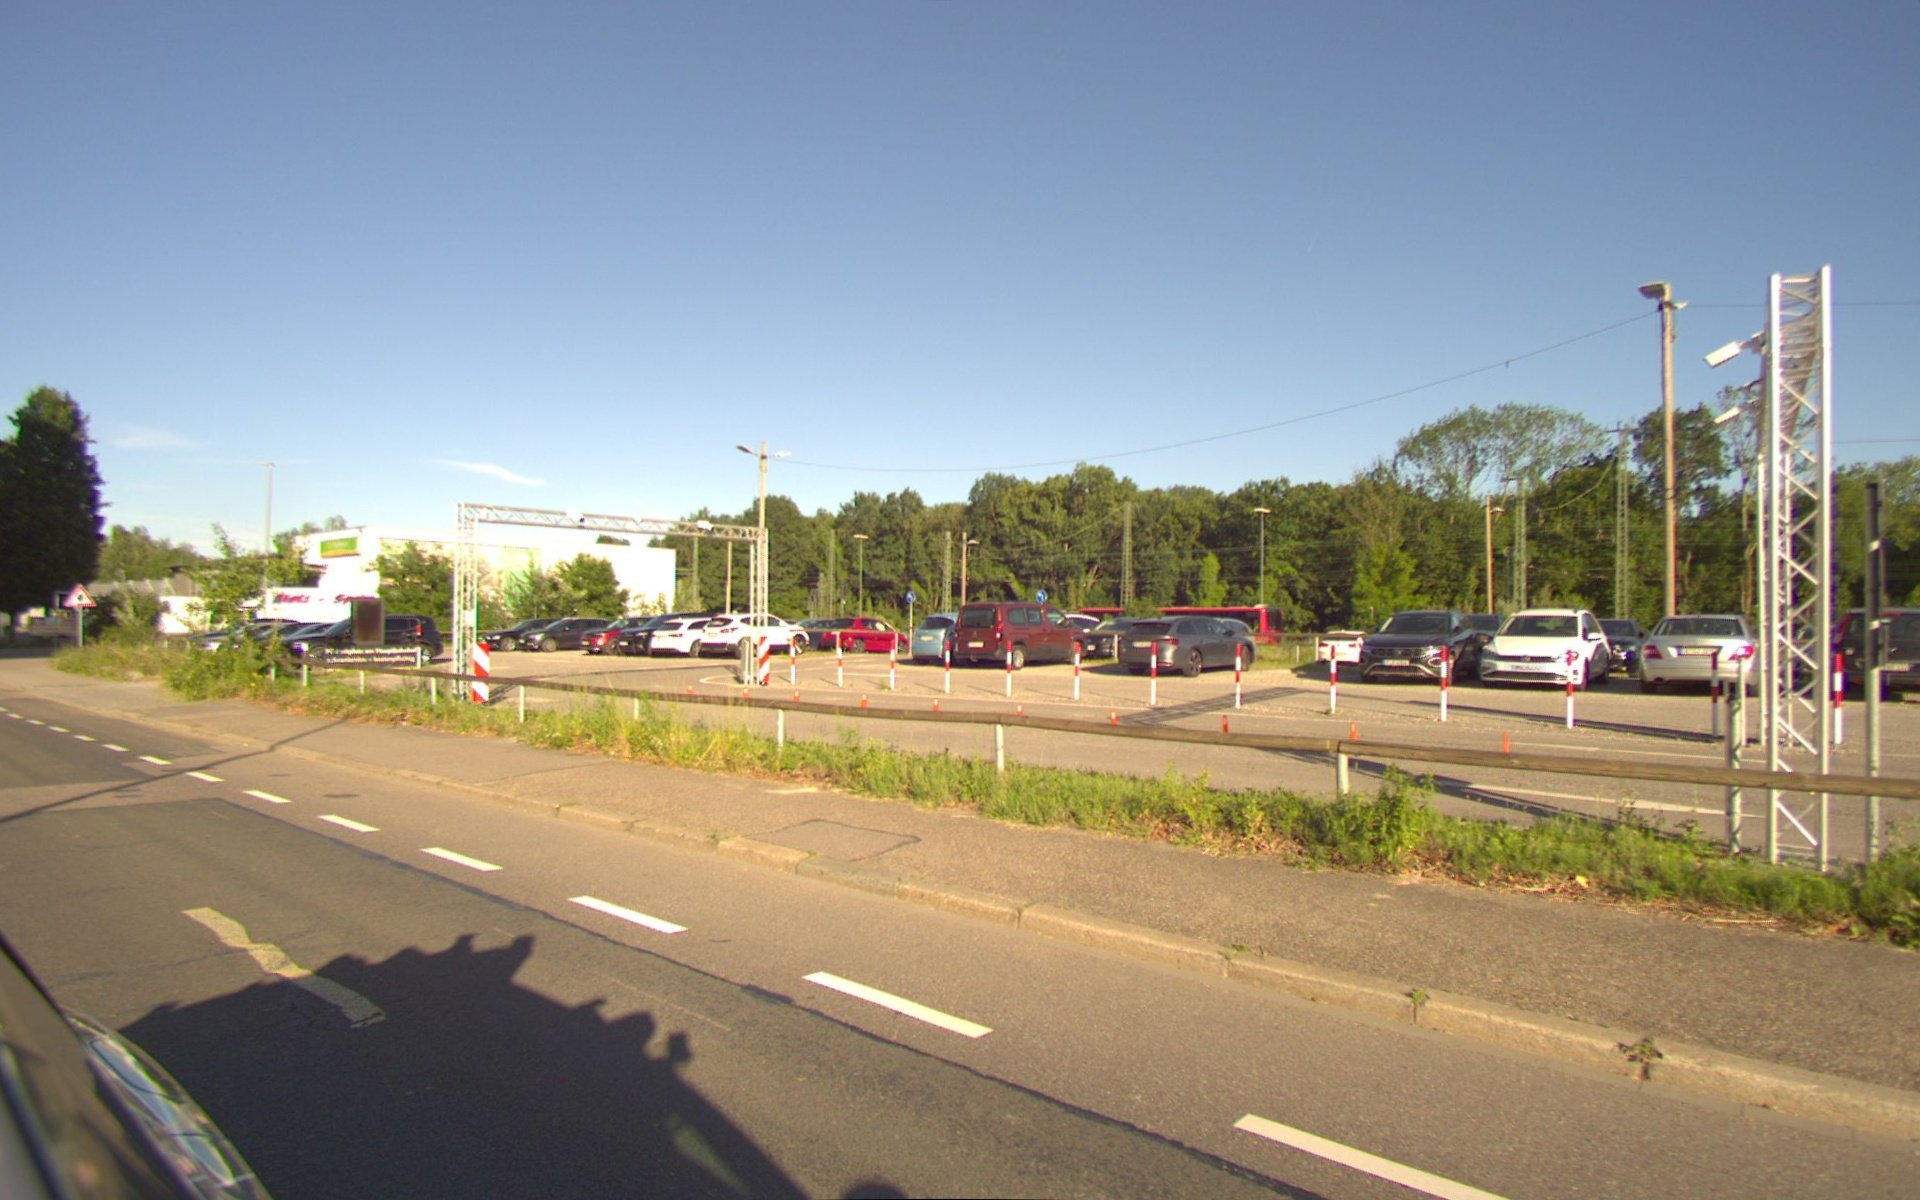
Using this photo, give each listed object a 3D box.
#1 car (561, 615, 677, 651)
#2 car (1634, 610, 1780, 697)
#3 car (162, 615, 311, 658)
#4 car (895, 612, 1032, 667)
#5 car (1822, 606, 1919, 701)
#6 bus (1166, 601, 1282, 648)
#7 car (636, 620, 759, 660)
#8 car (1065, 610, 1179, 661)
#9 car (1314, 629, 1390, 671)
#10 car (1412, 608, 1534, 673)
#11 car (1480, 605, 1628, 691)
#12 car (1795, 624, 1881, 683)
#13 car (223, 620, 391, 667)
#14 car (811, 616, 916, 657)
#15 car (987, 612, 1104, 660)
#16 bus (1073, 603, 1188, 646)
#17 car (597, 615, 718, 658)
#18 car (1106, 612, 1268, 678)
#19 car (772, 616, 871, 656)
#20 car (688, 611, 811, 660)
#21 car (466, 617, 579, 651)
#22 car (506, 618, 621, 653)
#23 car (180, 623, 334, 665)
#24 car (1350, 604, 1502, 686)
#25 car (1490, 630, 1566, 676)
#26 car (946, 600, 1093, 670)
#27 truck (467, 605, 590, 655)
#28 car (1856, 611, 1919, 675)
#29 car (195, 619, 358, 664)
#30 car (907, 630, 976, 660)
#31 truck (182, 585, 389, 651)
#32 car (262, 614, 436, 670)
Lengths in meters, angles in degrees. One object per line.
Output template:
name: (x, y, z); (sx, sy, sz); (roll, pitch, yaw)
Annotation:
car: (-13.894, 1.333, 41.419); (2.044, 1.408, 4.123); (-1, -2, 36)
car: (13.870, 0.903, 18.691); (1.877, 1.404, 4.277); (-2, -1, 40)
car: (-28.369, 1.389, 39.781); (2.047, 1.593, 4.382); (-1, -2, 41)
car: (0.175, 1.165, 31.008); (1.856, 1.557, 4.322); (-2, -1, 40)
car: (16.121, 0.846, 17.416); (1.877, 1.474, 4.277); (-2, -1, 40)
bus: (14.199, 1.327, 54.632); (5.586, 2.366, 2.512); (-1, -2, 41)
car: (-9.751, 1.445, 37.824); (2.044, 1.408, 4.123); (-1, -2, 36)
car: (5.234, 1.107, 32.417); (1.934, 1.519, 3.948); (-2, -2, 38)
car: (15.042, 1.880, 38.763); (1.724, 1.493, 3.572); (-1, -2, 38)
car: (13.378, 0.999, 26.265); (1.877, 1.535, 4.277); (-2, -1, 40)
car: (12.065, 0.894, 20.434); (1.877, 1.535, 4.277); (-2, -1, 40)
car: (25.453, 1.502, 29.432); (1.752, 1.565, 3.795); (-2, -2, 39)
car: (-21.984, 1.431, 34.199); (2.047, 1.473, 4.382); (-1, -2, 41)
car: (-3.826, 1.430, 40.683); (1.963, 1.541, 4.122); (-1, -2, 37)
car: (3.013, 1.195, 34.818); (1.856, 1.557, 4.322); (-2, -1, 40)
bus: (9.783, 1.411, 58.520); (6.202, 2.366, 2.512); (-1, -2, 41)
car: (-11.678, 1.394, 39.326); (2.044, 1.590, 4.123); (-1, -2, 36)
car: (5.790, 1.066, 25.513); (1.991, 1.492, 4.526); (-2, -2, 42)
car: (-5.704, 1.451, 42.057); (1.910, 1.561, 3.950); (-1, -1, 37)
car: (-7.554, 1.262, 36.580); (1.963, 1.674, 4.122); (-1, -2, 37)
car: (-20.027, 1.550, 46.471); (2.044, 1.476, 4.363); (-1, -2, 36)
car: (-17.618, 1.558, 45.107); (2.044, 1.476, 4.363); (-1, -2, 36)
car: (-26.350, 1.604, 38.058); (2.047, 1.473, 4.382); (-1, -2, 41)
car: (10.232, 0.908, 22.054); (1.856, 1.597, 4.529); (-2, -1, 40)
car: (19.776, 1.809, 35.180); (1.724, 1.493, 3.572); (-1, -2, 38)
car: (1.784, 0.955, 28.869); (1.856, 1.819, 4.529); (-2, -1, 40)
truck: (-25.695, 1.762, 60.549); (2.313, 2.829, 6.432); (-1, -2, 38)
car: (19.625, 0.838, 20.628); (1.876, 1.197, 3.844); (-2, -1, 39)
car: (-24.062, 1.428, 35.747); (2.047, 1.473, 4.382); (-1, -2, 41)
car: (-0.928, 2.310, 52.633); (1.724, 1.493, 3.572); (-1, -2, 38)
truck: (-40.146, 1.006, 60.706); (2.773, 3.642, 10.000); (0, 0, 38)
car: (-19.538, 1.305, 32.499); (2.047, 1.683, 4.382); (-1, -2, 41)
